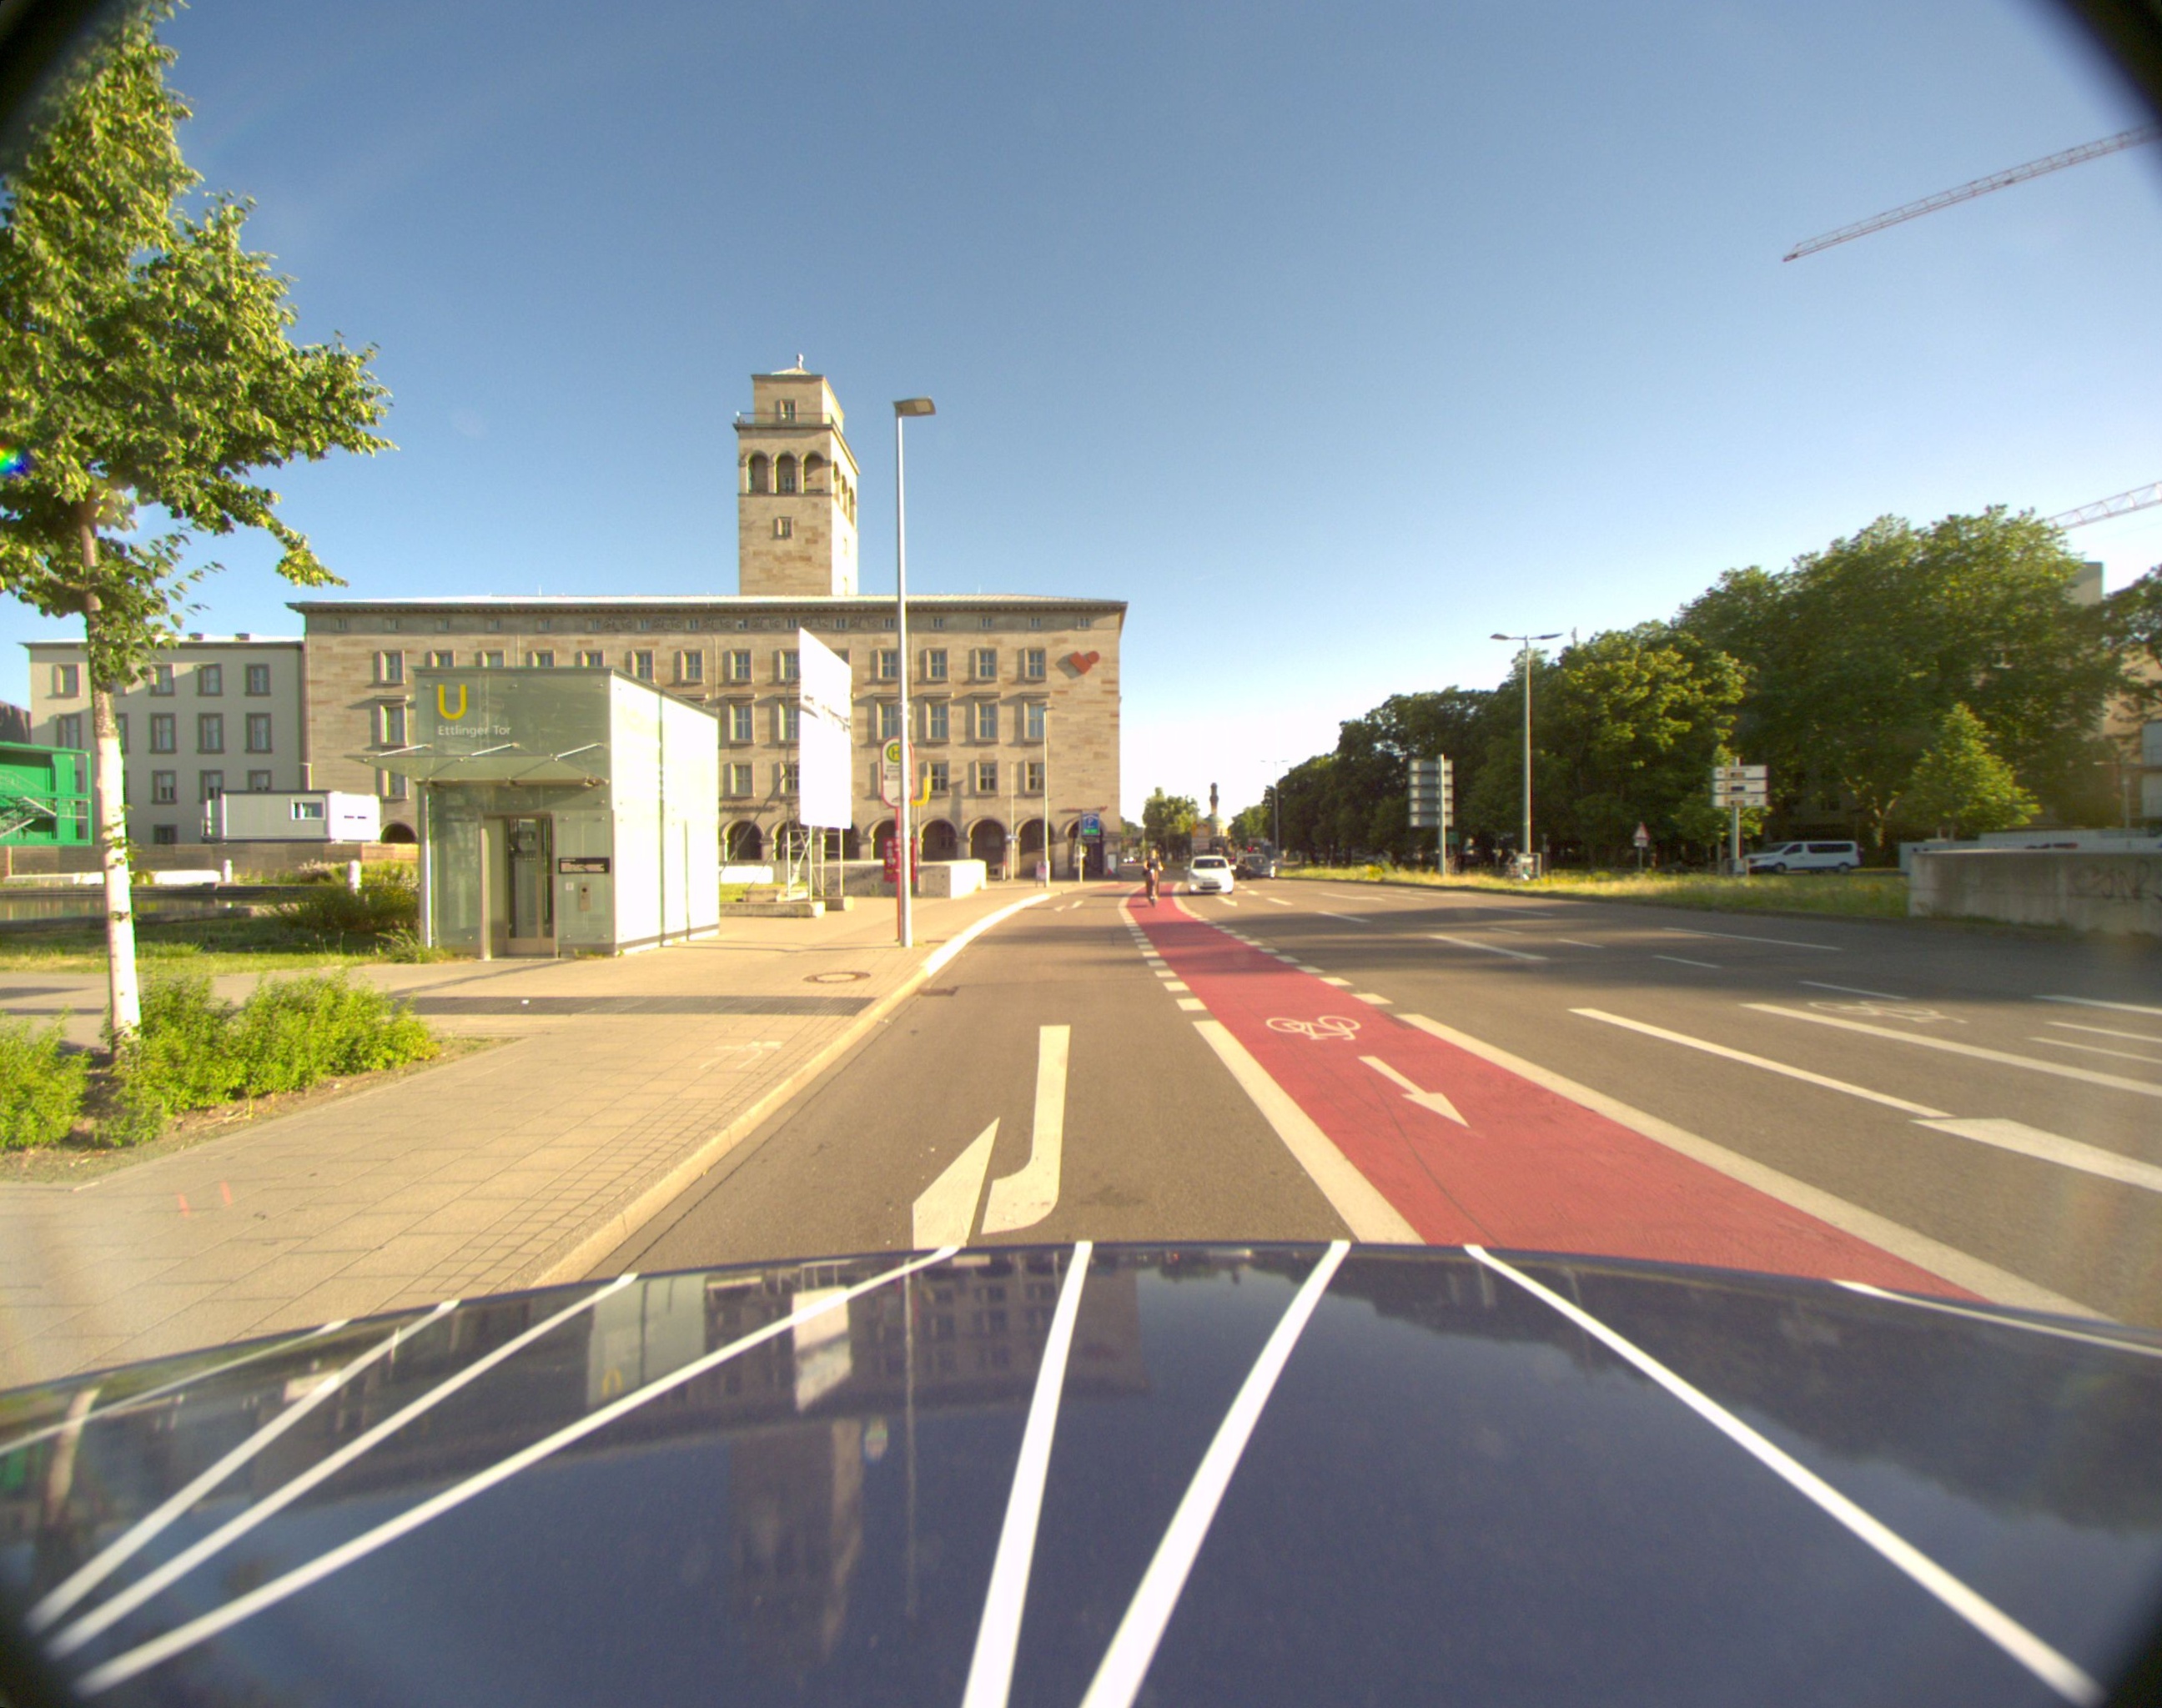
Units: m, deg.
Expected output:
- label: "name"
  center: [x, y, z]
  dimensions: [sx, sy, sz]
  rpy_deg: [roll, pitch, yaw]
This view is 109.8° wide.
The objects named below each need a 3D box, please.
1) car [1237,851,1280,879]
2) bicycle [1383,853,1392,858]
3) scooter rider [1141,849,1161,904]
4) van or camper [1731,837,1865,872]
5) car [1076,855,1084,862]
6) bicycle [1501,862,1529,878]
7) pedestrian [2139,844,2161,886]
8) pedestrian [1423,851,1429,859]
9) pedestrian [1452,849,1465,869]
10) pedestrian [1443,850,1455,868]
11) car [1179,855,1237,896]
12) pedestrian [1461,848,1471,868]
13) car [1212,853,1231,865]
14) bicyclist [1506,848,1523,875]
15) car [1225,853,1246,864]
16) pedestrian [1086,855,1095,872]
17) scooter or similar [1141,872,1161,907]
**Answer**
- label: "car"
  center: [11.094, 0.653, 47.642]
  dimensions: [1.733, 1.629, 4.000]
  rpy_deg: [-2, 0, 1]
- label: "bicycle"
  center: [54.846, 0.302, 135.791]
  dimensions: [0.770, 0.884, 1.604]
  rpy_deg: [-1, 0, -9]
- label: "scooter rider"
  center: [2.120, 0.669, 22.996]
  dimensions: [0.562, 1.622, 0.650]
  rpy_deg: [0, 1, 9]
- label: "van or camper"
  center: [42.272, 0.001, 44.929]
  dimensions: [5.677, 2.002, 2.257]
  rpy_deg: [0, 2, 1]
- label: "car"
  center: [-0.217, 1.178, 189.330]
  dimensions: [1.999, 1.564, 4.549]
  rpy_deg: [0, 0, 0]
- label: "bicycle"
  center: [24.213, 0.904, 42.419]
  dimensions: [0.613, 0.856, 1.951]
  rpy_deg: [-1, 0, 5]
- label: "pedestrian"
  center: [40.444, 0.416, 28.424]
  dimensions: [0.581, 1.549, 0.835]
  rpy_deg: [-1, 0, -2]
- label: "pedestrian"
  center: [52.821, 0.151, 116.306]
  dimensions: [0.733, 1.332, 0.599]
  rpy_deg: [-1, 1, 2]
- label: "pedestrian"
  center: [33.093, 0.400, 66.535]
  dimensions: [0.773, 1.730, 0.761]
  rpy_deg: [-1, 1, 3]
- label: "pedestrian"
  center: [32.210, 0.434, 66.558]
  dimensions: [0.744, 1.631, 0.726]
  rpy_deg: [-1, 1, 3]
- label: "car"
  center: [4.893, 0.787, 29.744]
  dimensions: [1.678, 1.455, 3.765]
  rpy_deg: [-2, 0, 1]
- label: "pedestrian"
  center: [33.768, 0.379, 66.625]
  dimensions: [0.525, 1.730, 0.655]
  rpy_deg: [-1, 1, 3]
- label: "car"
  center: [20.970, 0.724, 113.572]
  dimensions: [1.999, 1.666, 4.549]
  rpy_deg: [0, 0, 0]
- label: "bicyclist"
  center: [24.209, 0.427, 42.425]
  dimensions: [0.608, 1.480, 0.681]
  rpy_deg: [-1, 0, 5]
- label: "car"
  center: [21.768, 0.584, 107.436]
  dimensions: [1.999, 1.555, 4.059]
  rpy_deg: [0, 0, -2]
- label: "pedestrian"
  center: [0.848, 0.837, 68.704]
  dimensions: [0.778, 1.560, 0.952]
  rpy_deg: [0, 0, -2]
- label: "scooter or similar"
  center: [2.132, 1.067, 23.071]
  dimensions: [0.556, 1.025, 1.118]
  rpy_deg: [0, 0, 8]
